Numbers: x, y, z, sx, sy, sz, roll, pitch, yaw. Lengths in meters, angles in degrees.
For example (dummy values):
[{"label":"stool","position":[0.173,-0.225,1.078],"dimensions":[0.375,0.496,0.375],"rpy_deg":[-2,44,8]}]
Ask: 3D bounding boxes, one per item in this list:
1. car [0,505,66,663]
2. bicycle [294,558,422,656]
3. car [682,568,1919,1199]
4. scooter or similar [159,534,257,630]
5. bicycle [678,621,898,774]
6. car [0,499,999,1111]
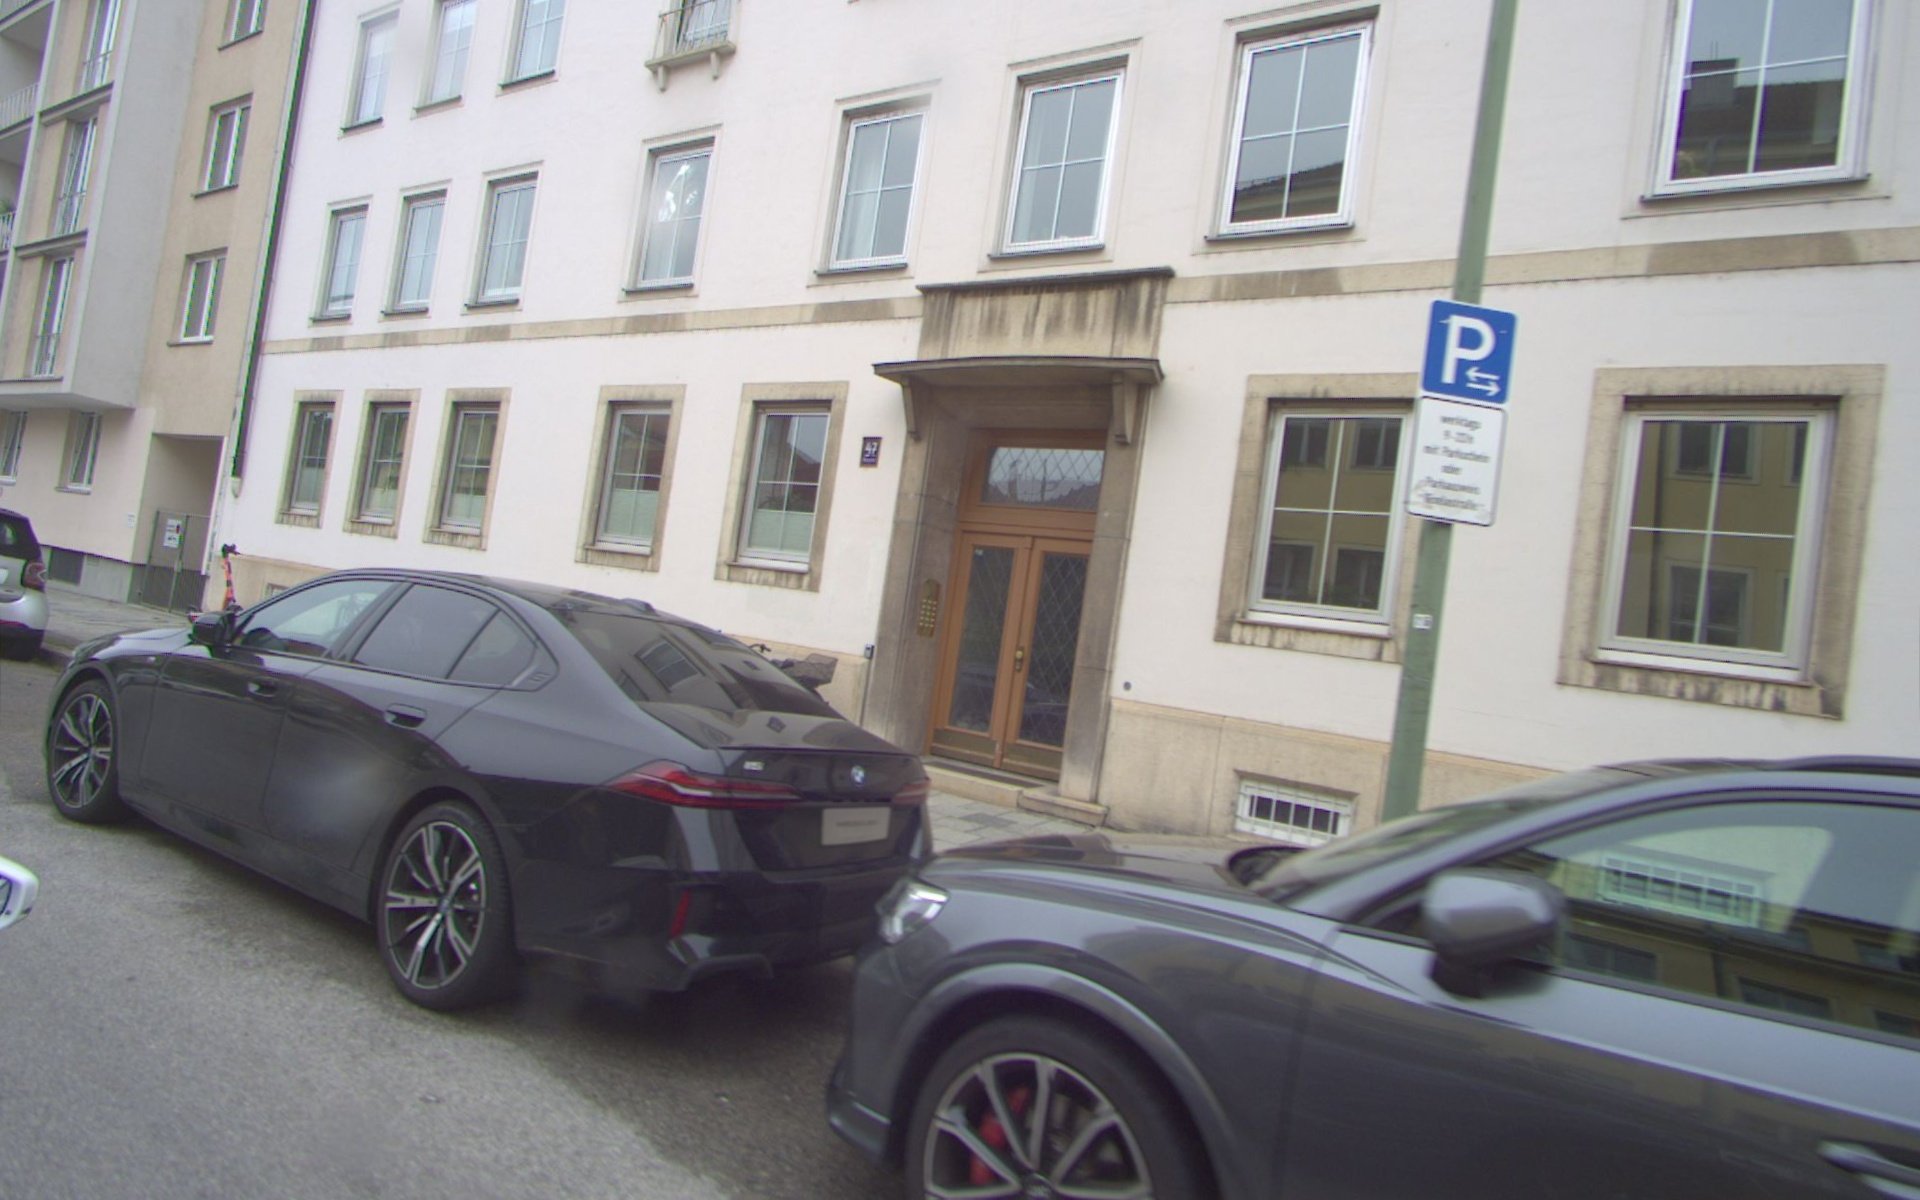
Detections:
[{"label":"car","position":[-11.224,-0.422,10.602],"dimensions":[3.324,1.531,1.621],"rpy_deg":[7,-6,32]},{"label":"bicycle","position":[-8.174,0.090,13.638],"dimensions":[1.806,1.105,0.630],"rpy_deg":[7,1,31]},{"label":"car","position":[1.712,1.057,2.250],"dimensions":[4.417,1.598,1.832],"rpy_deg":[7,-3,32]},{"label":"scooter or similar","position":[-11.541,-0.271,15.442],"dimensions":[1.077,1.290,0.731],"rpy_deg":[7,-1,31]},{"label":"bicycle","position":[-1.634,0.865,9.390],"dimensions":[2.005,1.094,0.598],"rpy_deg":[7,1,30]},{"label":"car","position":[-2.366,0.580,4.820],"dimensions":[4.620,1.463,1.879],"rpy_deg":[7,-3,30]}]
